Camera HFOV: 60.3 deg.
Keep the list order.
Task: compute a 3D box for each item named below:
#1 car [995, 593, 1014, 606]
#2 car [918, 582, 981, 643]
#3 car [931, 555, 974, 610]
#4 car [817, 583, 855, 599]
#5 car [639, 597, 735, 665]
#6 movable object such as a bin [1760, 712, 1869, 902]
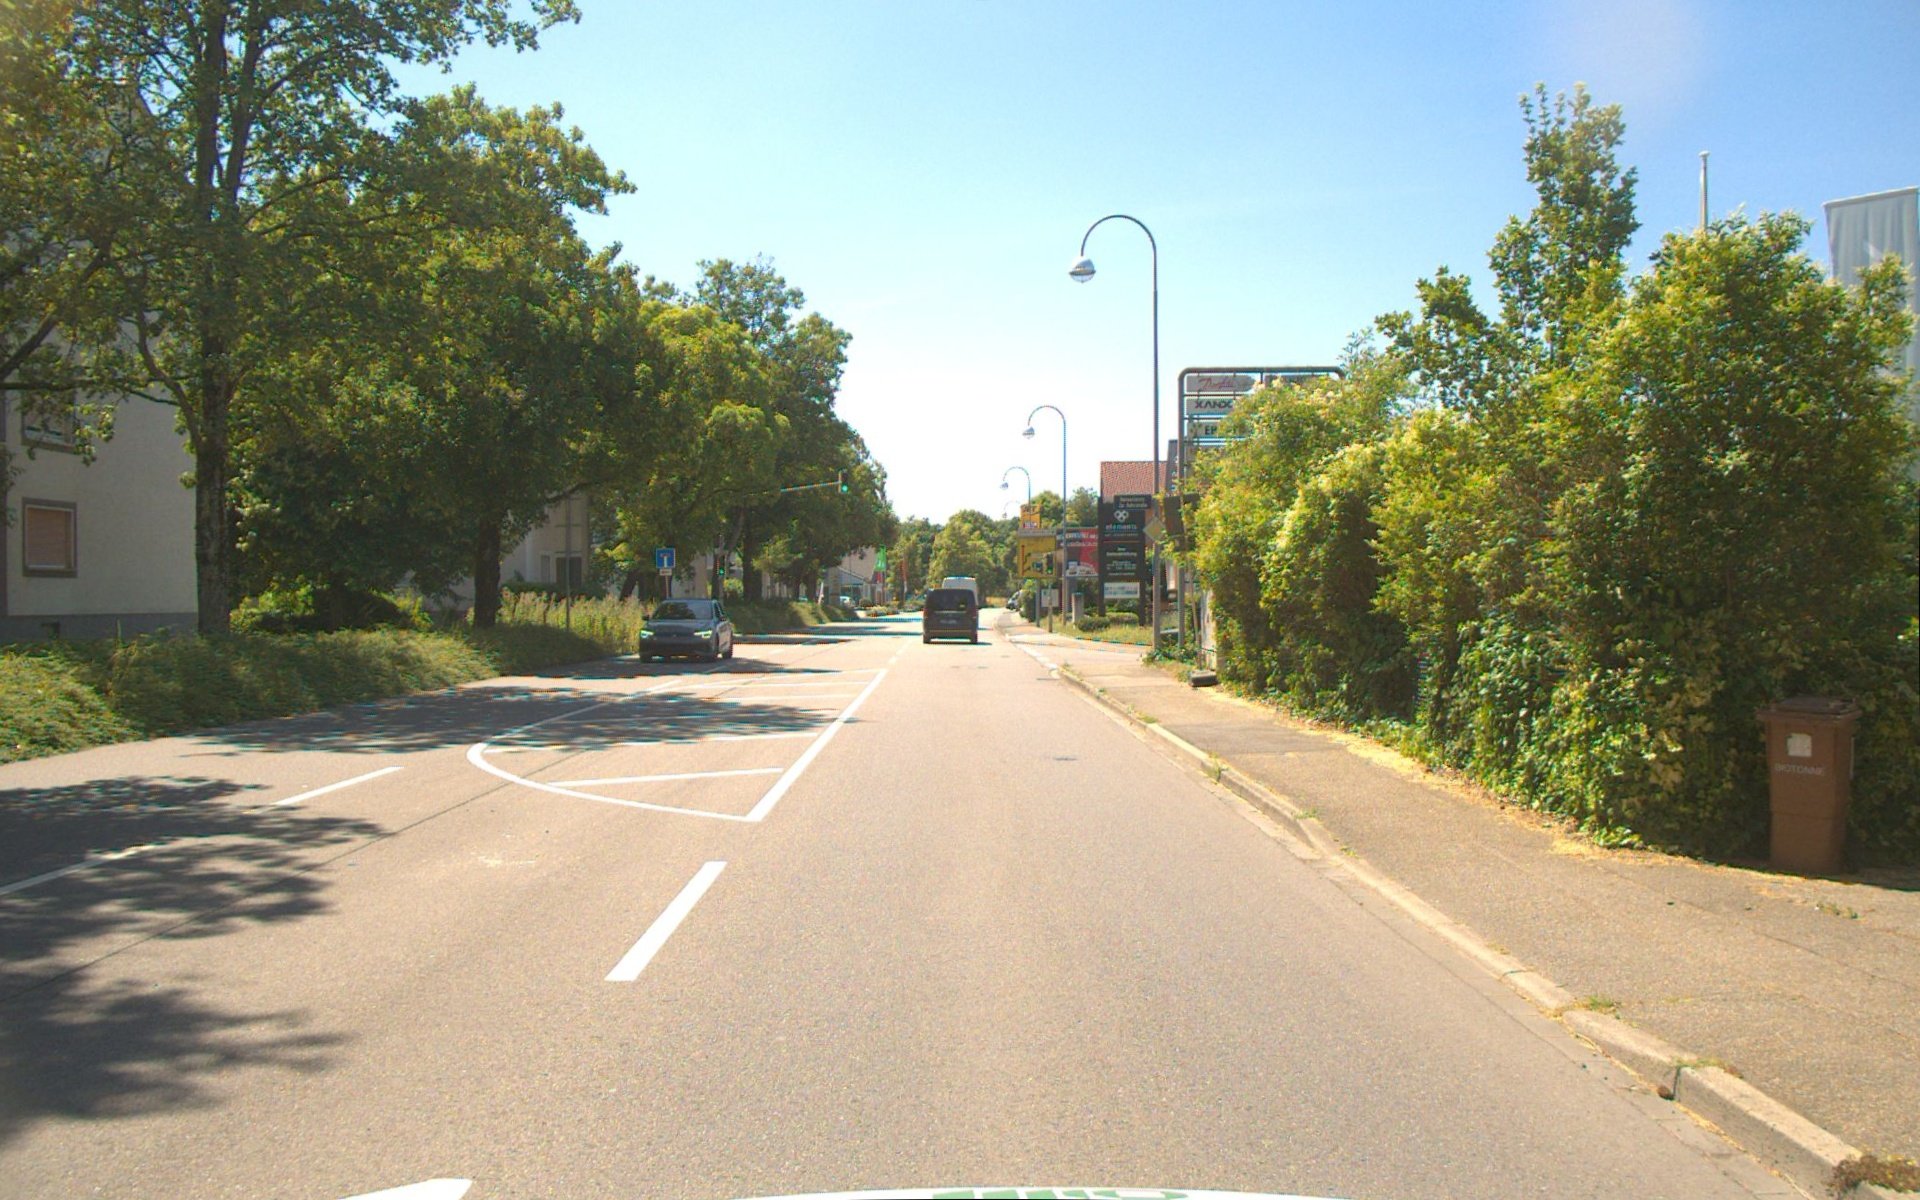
[{"bbox_3d":[6.092,-0.121,227.122,1.818,1.671,4.004,1,1,14],"label":"car"},{"bbox_3d":[-0.398,0.394,56.231,1.954,1.926,3.998,1,1,-3],"label":"car"},{"bbox_3d":[-0.346,-0.924,85.597,2.076,2.724,5.663,1,1,1],"label":"car"},{"bbox_3d":[-14.119,-1.009,187.946,3.902,1.691,2.002,1,1,10],"label":"car"},{"bbox_3d":[-6.351,0.684,38.912,1.687,1.452,4.146,1,0,-2],"label":"car"},{"bbox_3d":[4.649,1.106,8.998,0.462,0.944,0.523,2,0,33],"label":"movable object such as a bin"}]
